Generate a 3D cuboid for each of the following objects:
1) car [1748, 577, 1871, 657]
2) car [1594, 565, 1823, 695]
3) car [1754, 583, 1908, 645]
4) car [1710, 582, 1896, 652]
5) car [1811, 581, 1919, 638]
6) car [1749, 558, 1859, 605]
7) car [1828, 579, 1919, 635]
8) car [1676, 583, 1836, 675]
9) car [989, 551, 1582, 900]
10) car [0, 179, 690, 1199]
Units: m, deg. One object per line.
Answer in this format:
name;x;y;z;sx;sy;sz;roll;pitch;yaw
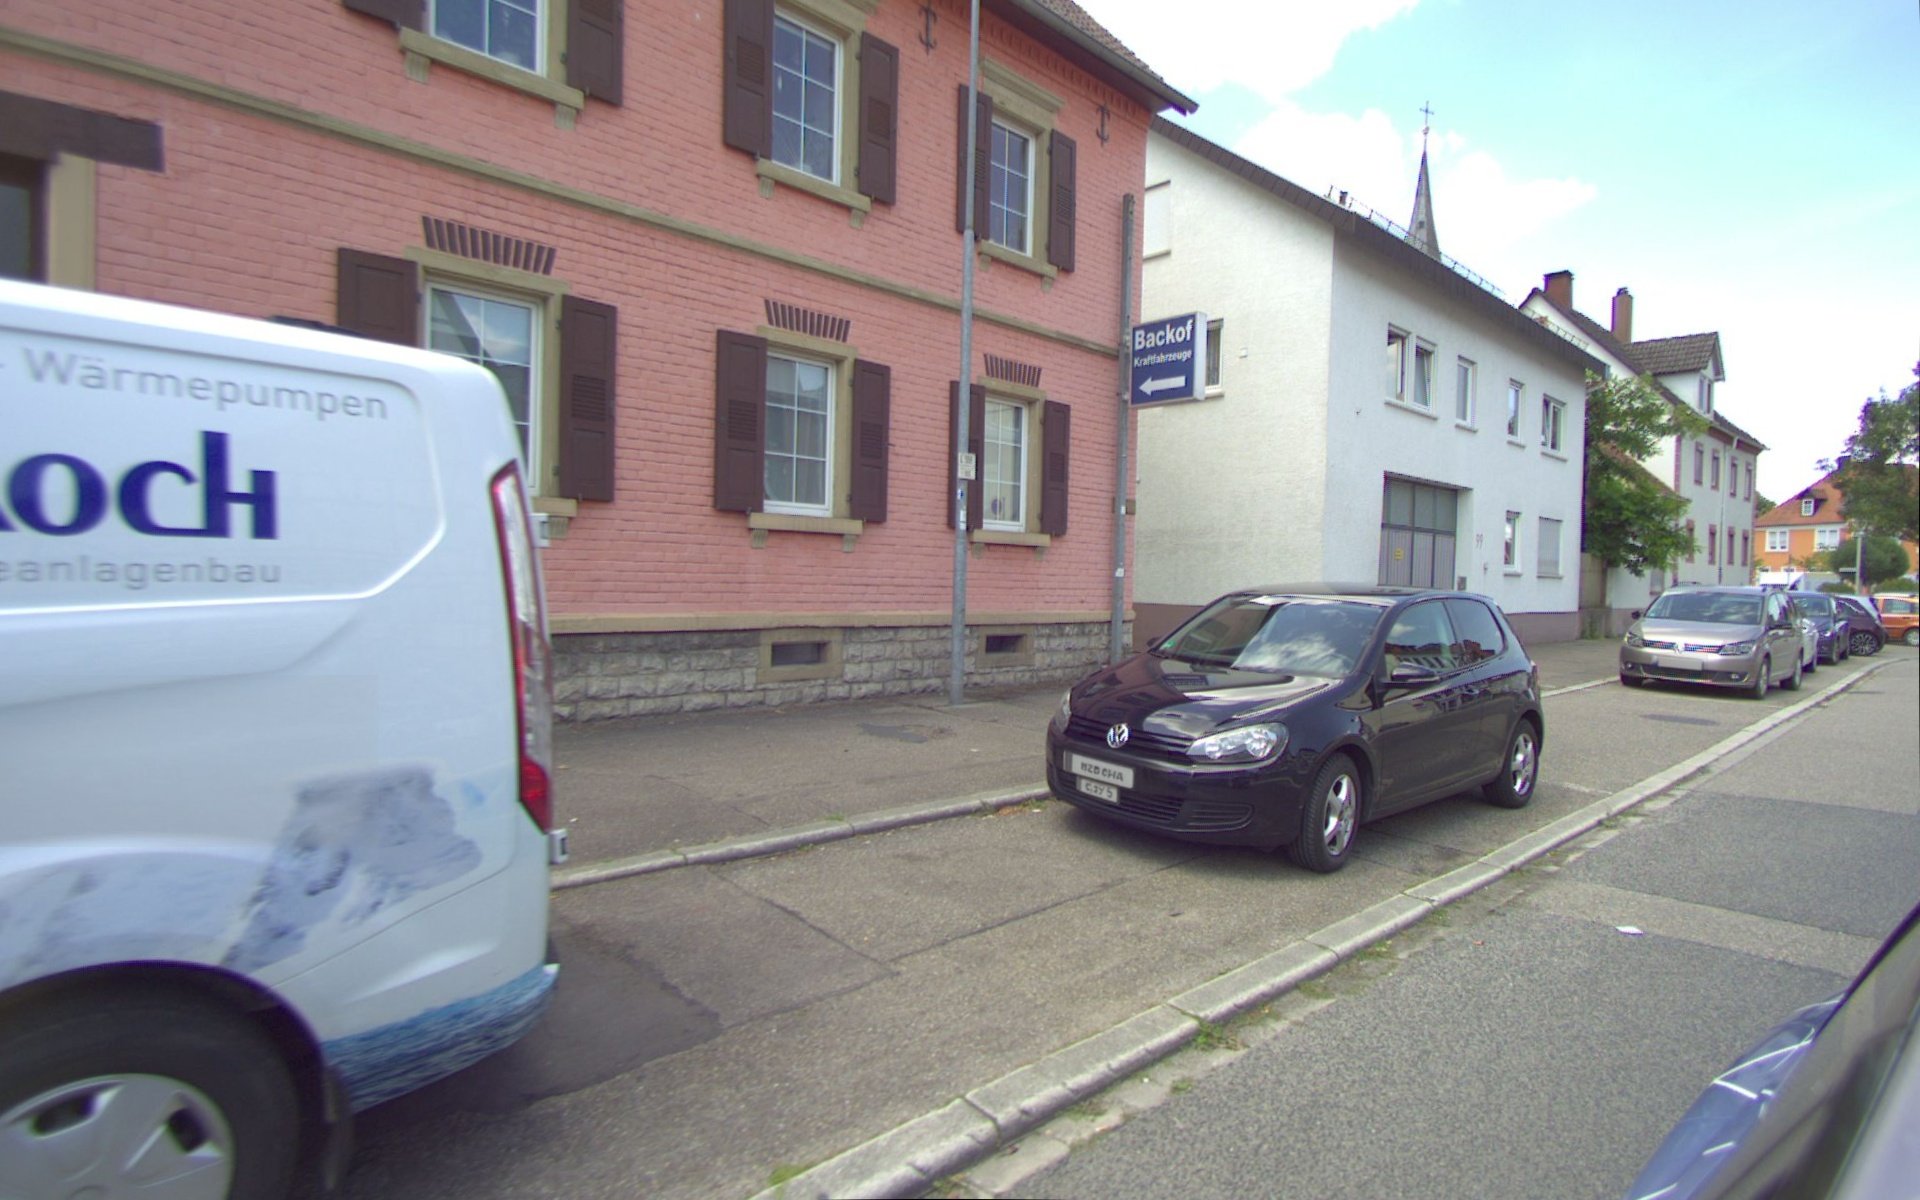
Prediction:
car;19.670;0.335;23.374;4.200;1.644;1.665;0;2;-43
car;11.710;0.371;15.727;4.248;1.701;1.997;0;2;-42
car;24.057;0.355;28.078;2.759;1.523;1.862;3;2;25
car;21.741;0.397;26.276;3.200;1.523;1.813;4;2;22
car;29.131;0.291;31.823;1.696;1.596;3.384;0;3;-41
car;56.392;-1.229;67.586;6.966;2.999;2.768;0;3;-24
car;31.047;0.261;33.077;1.821;1.596;3.852;-3;6;-44
car;15.650;0.479;19.825;1.994;1.536;4.302;3;3;44
car;2.300;0.528;6.543;4.090;1.513;1.778;0;4;-42
car;-3.105;0.261;1.534;4.846;2.006;1.896;0;4;-42
